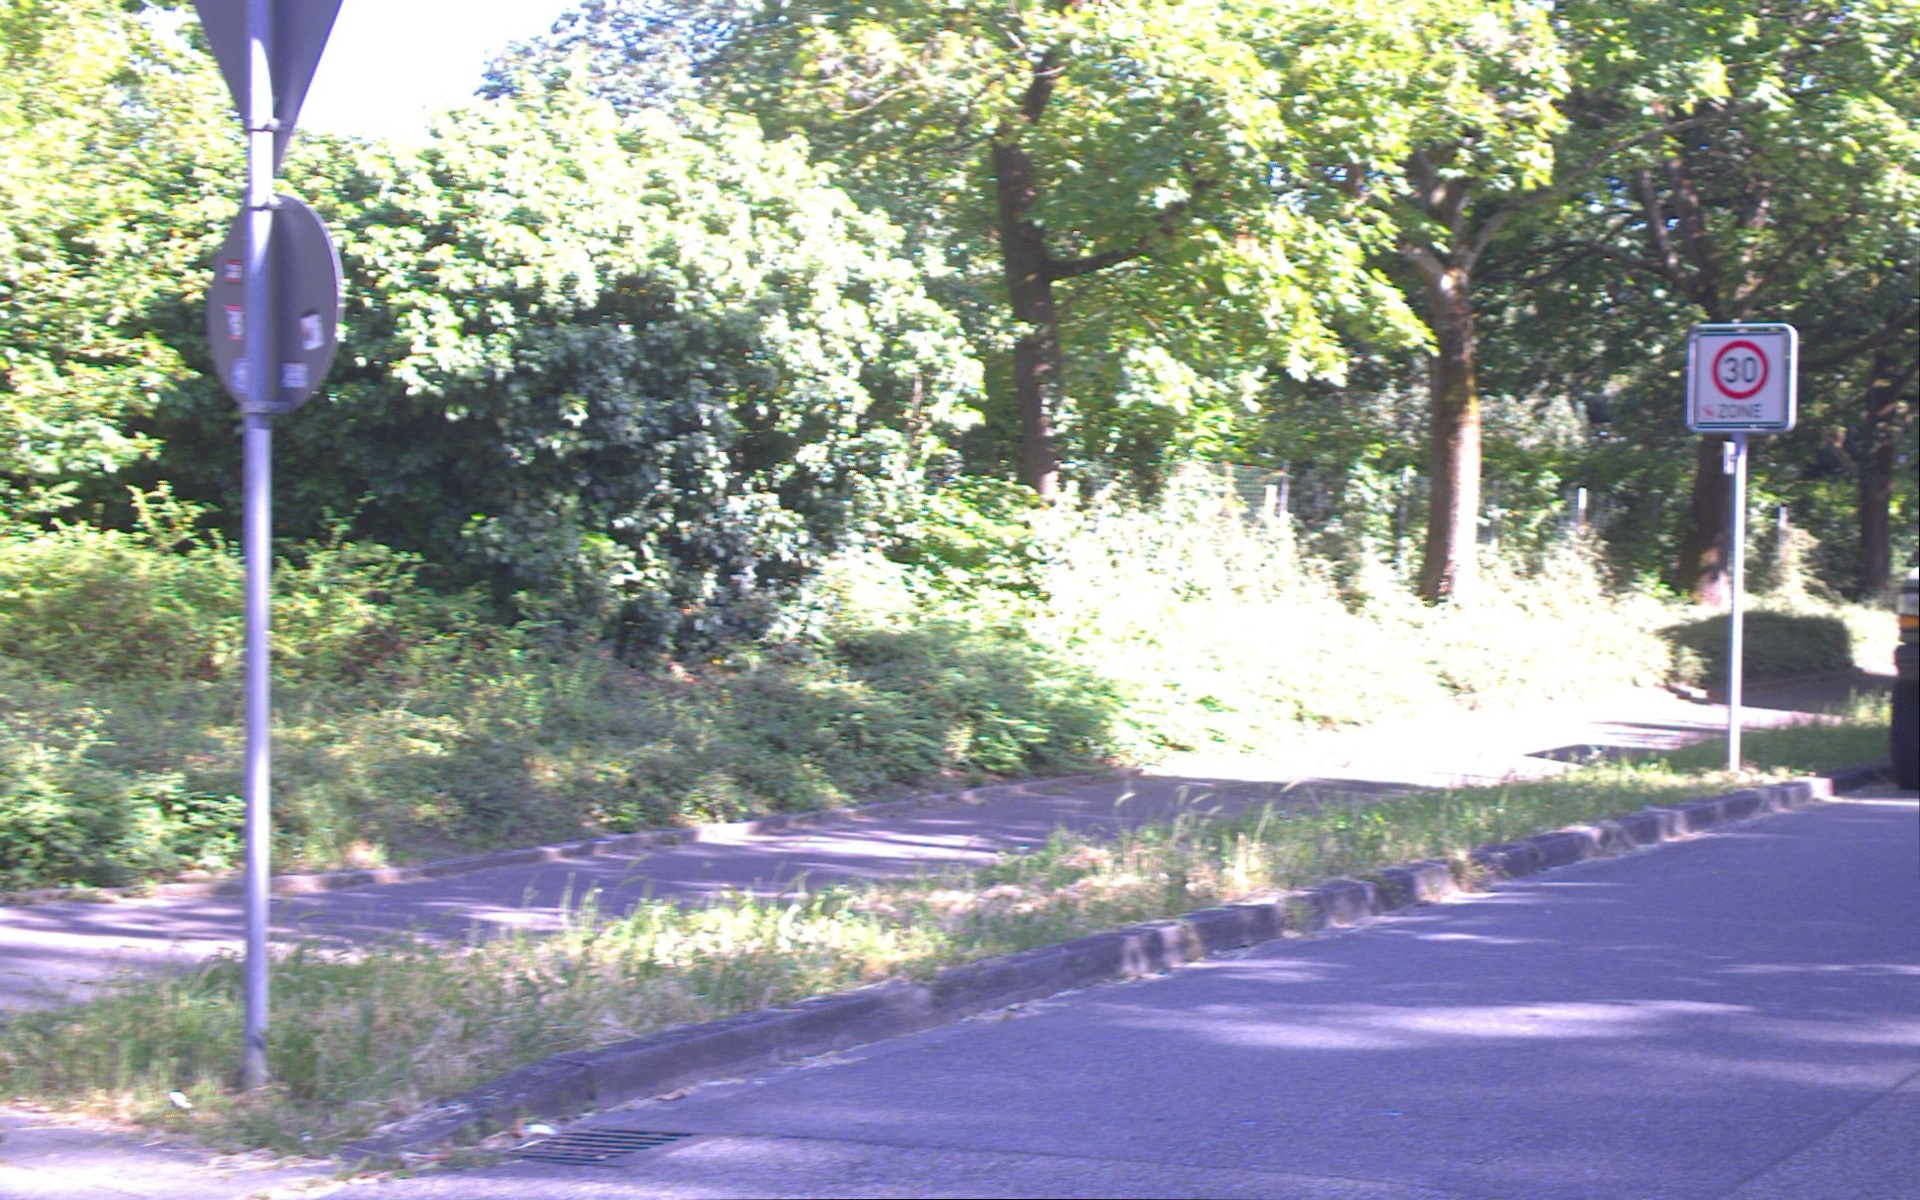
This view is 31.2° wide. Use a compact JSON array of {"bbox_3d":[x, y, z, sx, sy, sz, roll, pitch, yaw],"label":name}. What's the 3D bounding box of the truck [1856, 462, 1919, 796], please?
[{"bbox_3d":[8.092,0.152,24.123,2.116,2.087,6.638,1,1,27],"label":"truck"}]
